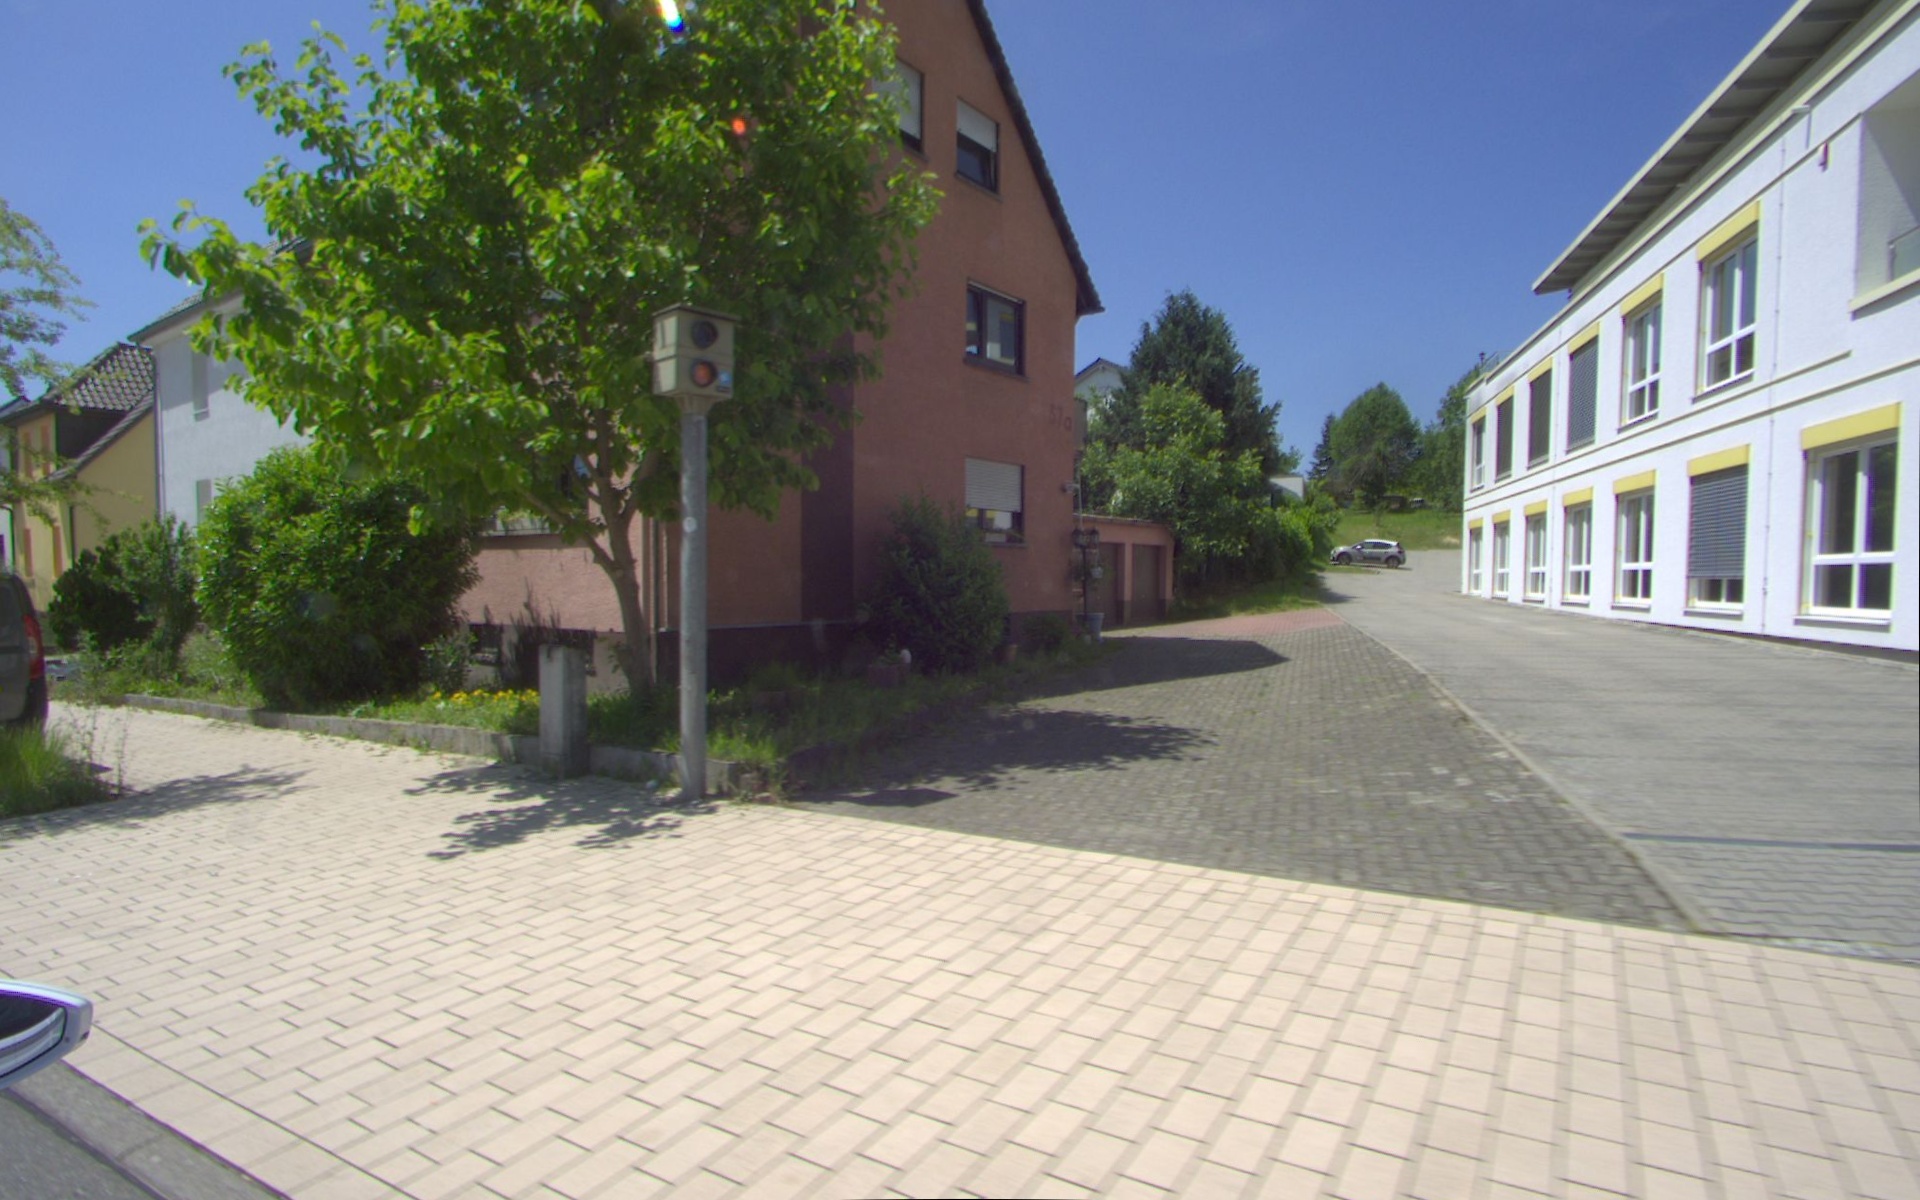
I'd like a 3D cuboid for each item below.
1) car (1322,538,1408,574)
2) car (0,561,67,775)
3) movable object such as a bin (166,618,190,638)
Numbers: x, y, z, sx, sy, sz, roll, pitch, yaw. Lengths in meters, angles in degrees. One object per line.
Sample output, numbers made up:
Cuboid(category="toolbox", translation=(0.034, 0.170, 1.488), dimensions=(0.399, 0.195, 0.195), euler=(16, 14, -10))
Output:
Cuboid(category="car", translation=(22.670, -2.434, 56.063), dimensions=(4.350, 1.780, 1.993), euler=(0, -1, 27))
Cuboid(category="car", translation=(-10.540, 0.612, 9.642), dimensions=(4.607, 1.867, 1.849), euler=(0, 2, 35))
Cuboid(category="movable object such as a bin", translation=(-22.161, 0.789, 28.384), dimensions=(0.370, 0.579, 0.452), euler=(0, 0, 38))
